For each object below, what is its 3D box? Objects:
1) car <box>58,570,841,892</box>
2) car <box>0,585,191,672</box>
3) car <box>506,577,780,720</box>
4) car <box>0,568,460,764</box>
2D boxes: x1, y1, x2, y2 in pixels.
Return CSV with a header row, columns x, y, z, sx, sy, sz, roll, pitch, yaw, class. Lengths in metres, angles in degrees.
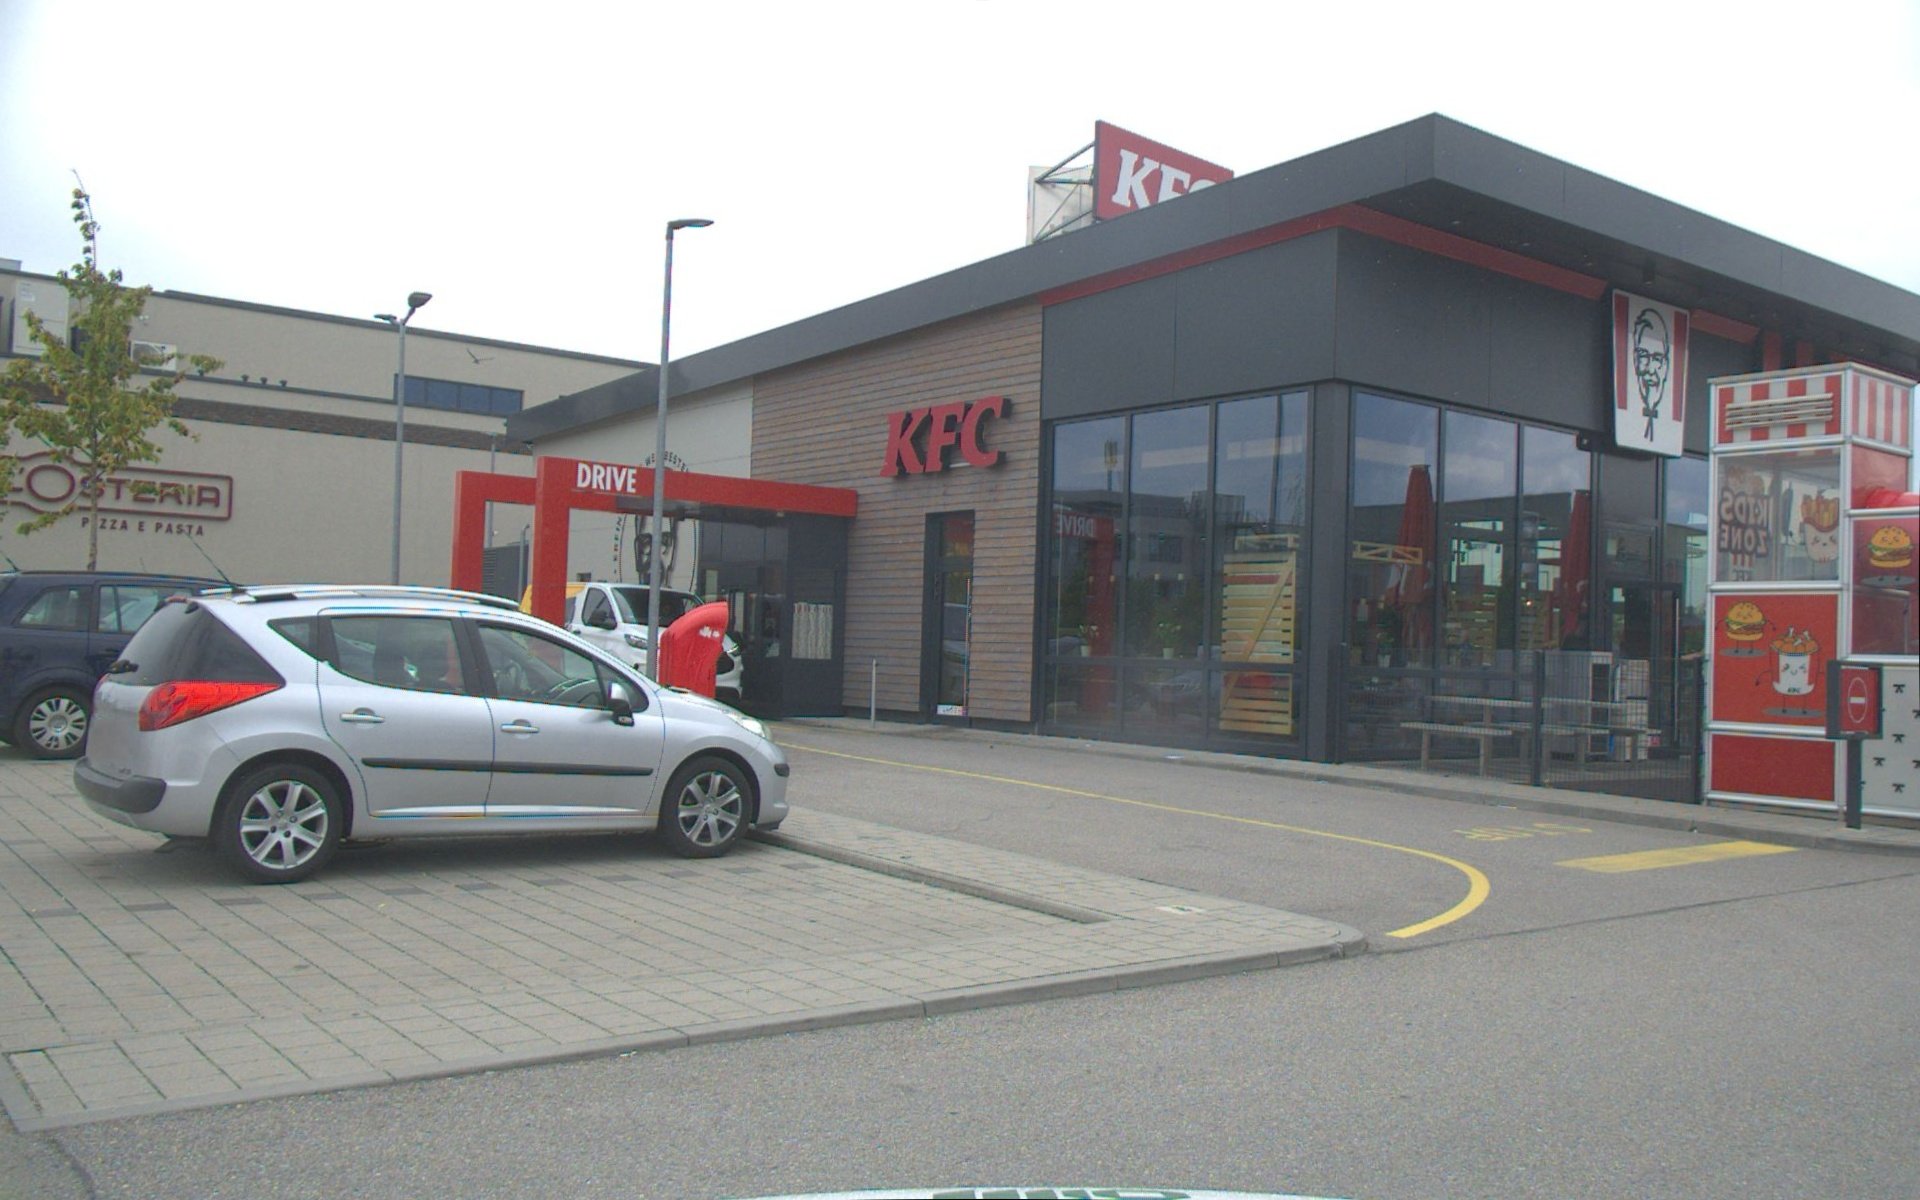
x,y,z,sx,sy,sz,roll,pitch,yaw,class
-2.867,0.698,9.809,4.126,1.531,1.606,3,-2,-39,car
-17.184,0.548,32.114,3.804,1.601,1.801,1,-1,-38,car
-5.029,0.732,25.619,2.255,1.965,5.059,3,-2,-35,car
-7.186,0.617,15.633,4.440,1.645,1.563,3,-2,-39,car
